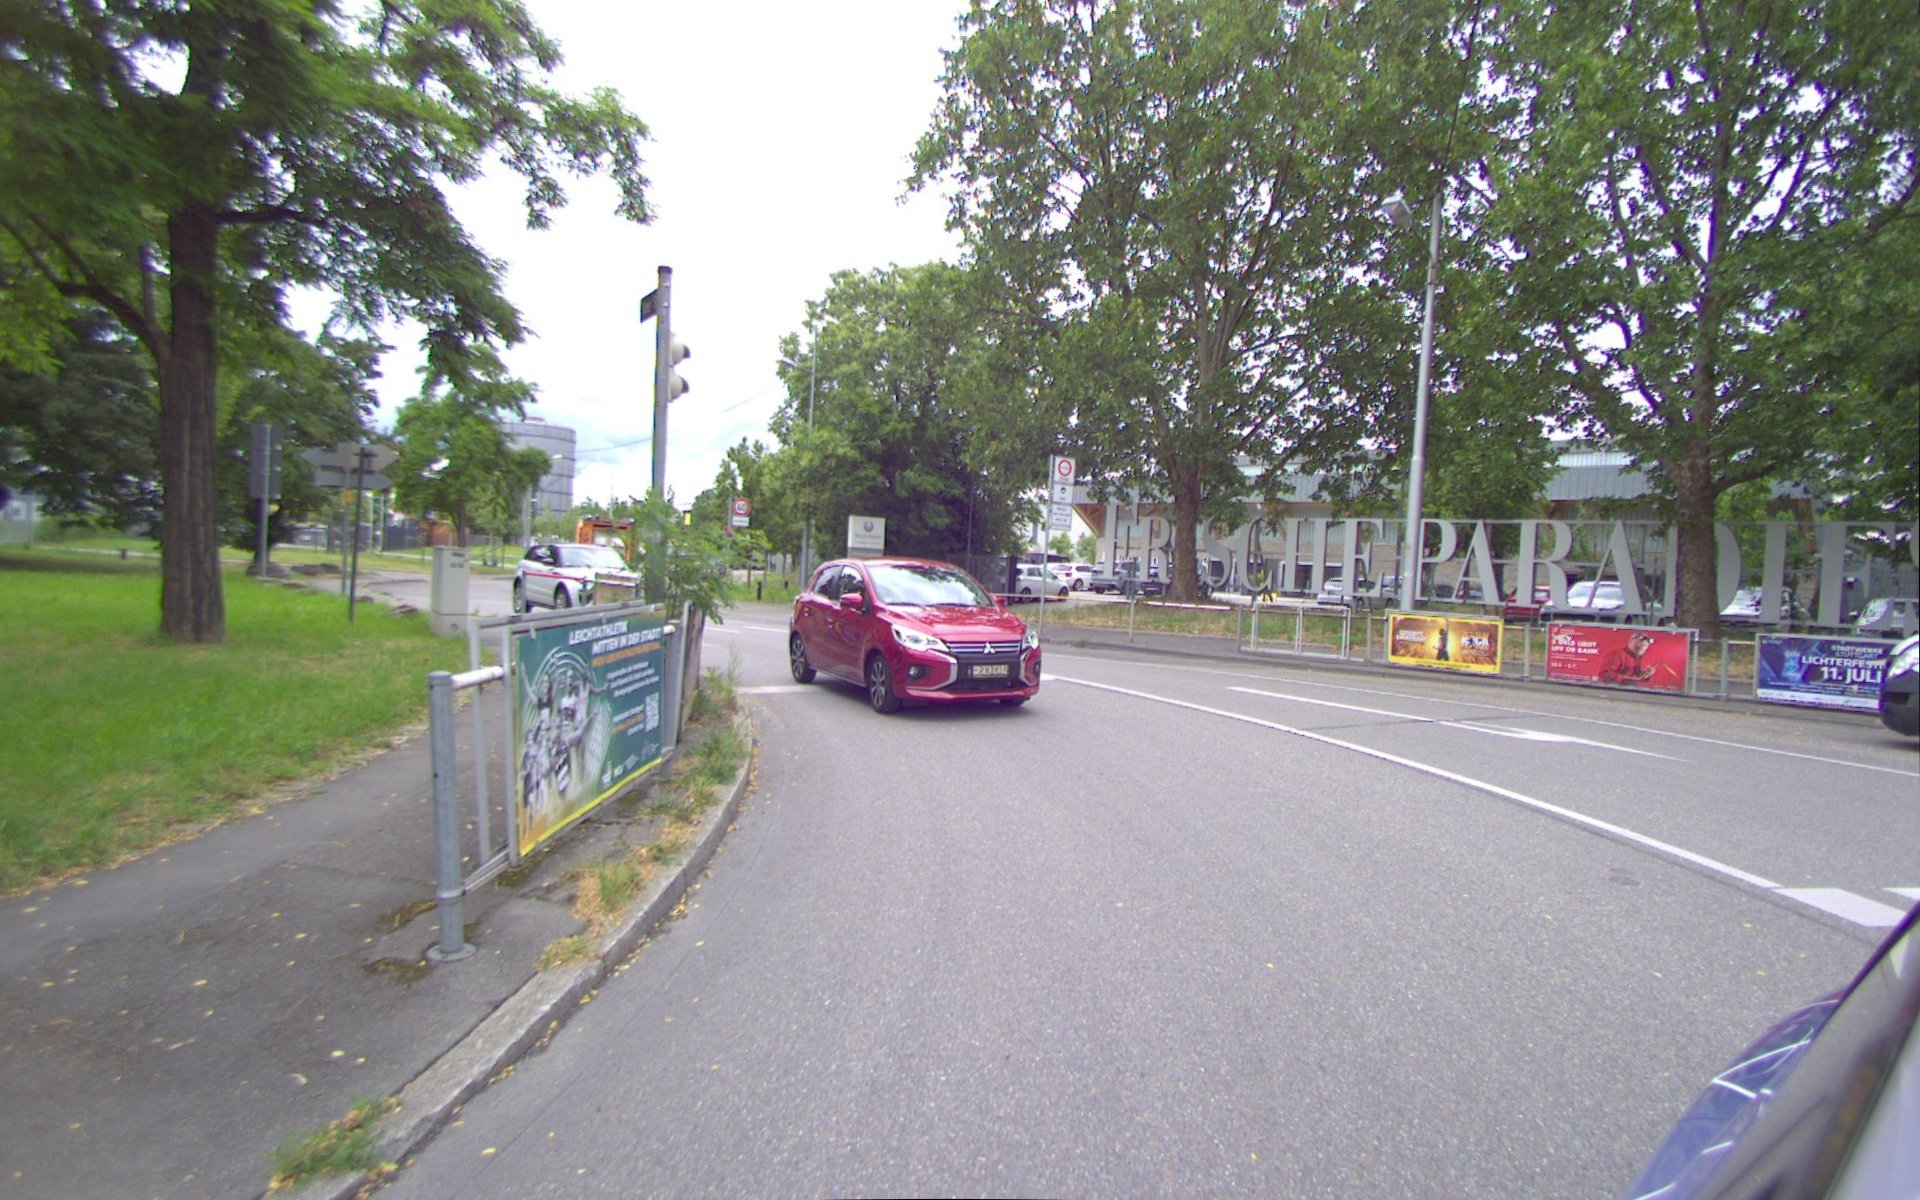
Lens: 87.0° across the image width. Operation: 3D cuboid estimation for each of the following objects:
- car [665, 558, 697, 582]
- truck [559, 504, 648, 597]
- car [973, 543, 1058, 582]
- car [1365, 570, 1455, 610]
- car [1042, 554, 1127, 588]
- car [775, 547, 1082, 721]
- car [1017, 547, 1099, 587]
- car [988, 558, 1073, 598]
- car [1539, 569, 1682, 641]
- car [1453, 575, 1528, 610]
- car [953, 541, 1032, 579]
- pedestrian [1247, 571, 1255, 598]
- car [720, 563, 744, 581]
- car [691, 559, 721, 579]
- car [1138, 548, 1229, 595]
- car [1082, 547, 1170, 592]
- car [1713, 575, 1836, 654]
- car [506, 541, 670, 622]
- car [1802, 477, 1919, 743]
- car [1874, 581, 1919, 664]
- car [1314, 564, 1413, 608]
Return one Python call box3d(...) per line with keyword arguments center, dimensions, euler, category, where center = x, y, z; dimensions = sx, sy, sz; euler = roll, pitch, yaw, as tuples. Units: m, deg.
box3d(center=(-18.531, -2.004, 67.418), dimensions=(1.681, 1.508, 3.378), euler=(3, 1, -10), category="car")
box3d(center=(-16.044, -2.107, 45.012), dimensions=(2.739, 3.570, 10.443), euler=(2, 1, -24), category="truck")
box3d(center=(3.354, -2.230, 60.388), dimensions=(5.014, 2.023, 1.997), euler=(2, 2, -42), category="car")
box3d(center=(20.502, -0.438, 46.010), dimensions=(4.560, 1.580, 1.997), euler=(2, 2, -42), category="car")
box3d(center=(6.777, -1.540, 54.657), dimensions=(4.560, 1.577, 1.997), euler=(2, 2, -42), category="car")
box3d(center=(-0.535, 0.216, 10.860), dimensions=(1.698, 1.483, 3.841), euler=(1, 3, -29), category="car")
box3d(center=(5.582, -1.857, 57.295), dimensions=(4.560, 2.038, 1.997), euler=(2, 2, -42), category="car")
box3d(center=(3.009, -0.903, 42.792), dimensions=(1.477, 1.523, 3.670), euler=(5, 2, 44), category="car")
box3d(center=(17.024, 0.147, 26.412), dimensions=(4.445, 1.633, 1.882), euler=(3, 2, -41), category="car")
box3d(center=(28.098, -0.383, 53.569), dimensions=(4.560, 1.580, 1.997), euler=(2, 2, -42), category="car")
box3d(center=(2.036, -2.466, 62.520), dimensions=(4.740, 2.038, 1.997), euler=(2, 2, -42), category="car")
box3d(center=(19.348, -1.041, 67.211), dimensions=(0.338, 1.787, 0.434), euler=(4, 0, 25), category="pedestrian")
box3d(center=(-19.822, -2.432, 88.092), dimensions=(1.682, 1.424, 3.376), euler=(3, 1, -6), category="car")
box3d(center=(-19.304, -2.369, 77.029), dimensions=(1.682, 1.424, 3.376), euler=(3, 1, -6), category="car")
box3d(center=(10.959, -1.359, 49.460), dimensions=(4.560, 2.038, 1.997), euler=(2, 2, -42), category="car")
box3d(center=(8.543, -1.546, 51.837), dimensions=(4.560, 2.038, 1.997), euler=(2, 2, -42), category="car")
box3d(center=(19.092, 0.365, 23.656), dimensions=(4.244, 1.633, 1.589), euler=(2, 2, -43), category="car")
box3d(center=(-8.053, -0.481, 21.730), dimensions=(2.013, 1.554, 3.936), euler=(-3, 4, -41), category="car")
box3d(center=(11.387, 0.262, 8.648), dimensions=(2.348, 2.489, 6.091), euler=(3, 2, -42), category="car")
box3d(center=(20.885, 0.534, 21.639), dimensions=(3.932, 1.633, 1.589), euler=(2, 2, -43), category="car")
box3d(center=(17.065, -0.576, 42.702), dimensions=(4.560, 1.580, 1.997), euler=(2, 2, -42), category="car")
